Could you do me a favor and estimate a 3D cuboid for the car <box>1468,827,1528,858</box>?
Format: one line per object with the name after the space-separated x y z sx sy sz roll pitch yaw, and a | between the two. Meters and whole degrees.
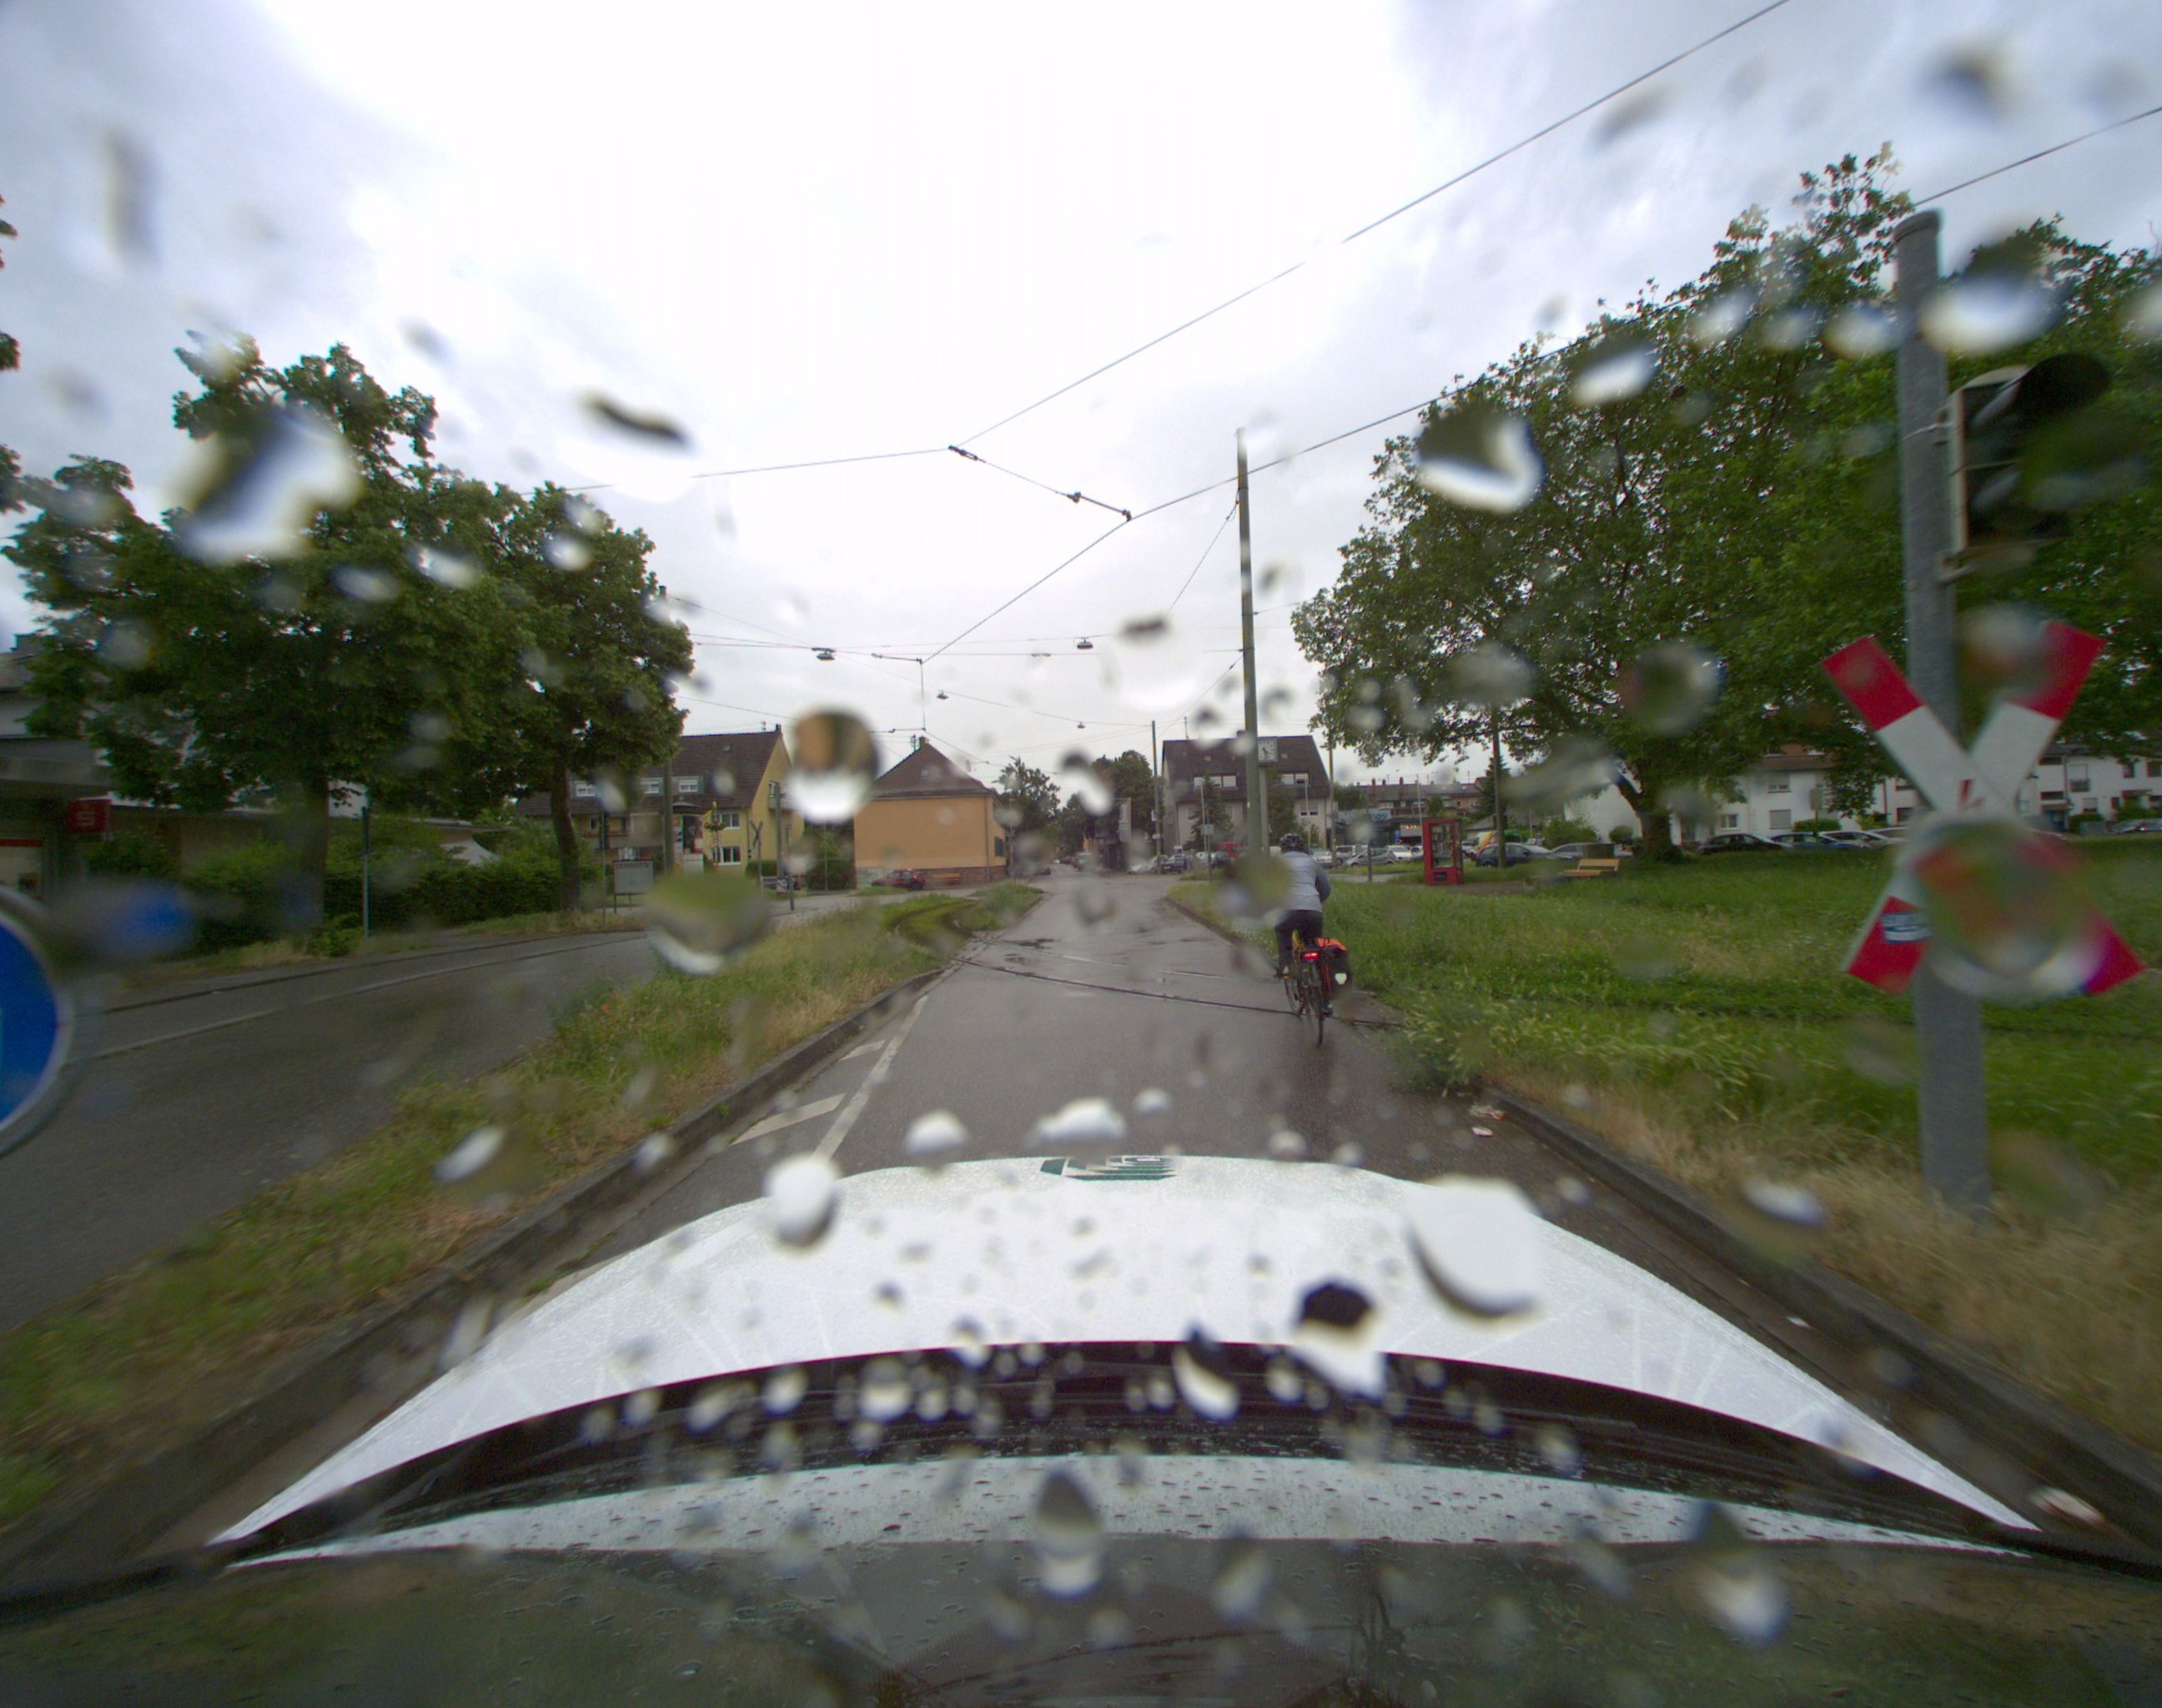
33.618 -0.854 65.848 2.138 2.406 5.147 0 -1 -1 | car

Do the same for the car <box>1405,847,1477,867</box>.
25.251 0.200 57.250 4.367 1.339 1.720 1 -1 -5 | car

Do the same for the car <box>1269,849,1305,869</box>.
16.201 0.415 63.987 1.810 1.504 4.083 -1 -1 28 | car

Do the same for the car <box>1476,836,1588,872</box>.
20.768 0.036 37.667 1.810 1.476 4.136 -2 -1 -30 | car

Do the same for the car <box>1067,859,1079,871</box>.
-1.404 1.926 139.002 1.824 2.014 3.996 0 -1 -3 | car

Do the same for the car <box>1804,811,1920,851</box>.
35.491 -1.018 37.069 1.762 1.506 3.477 0 -3 -36 | car

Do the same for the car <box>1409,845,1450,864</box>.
27.156 0.061 63.541 1.710 1.396 3.845 0 -1 3 | car

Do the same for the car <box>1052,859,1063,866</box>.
-6.395 2.331 221.928 1.833 1.697 4.008 0 -1 -17 | car

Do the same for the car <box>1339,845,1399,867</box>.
20.246 0.173 57.278 3.618 1.504 1.723 0 -1 1 | car

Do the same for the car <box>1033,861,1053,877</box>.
-4.144 1.664 89.131 1.989 1.618 3.996 -2 -1 -3 | car

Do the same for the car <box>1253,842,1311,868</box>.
16.911 0.103 68.685 4.416 2.014 2.001 -3 -1 1 | car

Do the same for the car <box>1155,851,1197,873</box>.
7.752 0.603 65.949 1.784 1.578 3.897 -3 -1 32 | car

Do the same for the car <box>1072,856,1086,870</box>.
-0.315 1.252 120.073 1.987 2.014 3.998 0 -1 -1 | car

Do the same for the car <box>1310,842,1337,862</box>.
18.997 -0.133 63.913 1.814 1.504 4.073 -1 -1 14 | car

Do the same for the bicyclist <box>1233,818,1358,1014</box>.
1.751 0.488 6.775 0.748 1.485 0.846 -4 -1 1 | bicyclist

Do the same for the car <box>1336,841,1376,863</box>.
21.633 -0.171 64.170 1.795 1.578 3.873 -3 -1 1 | car

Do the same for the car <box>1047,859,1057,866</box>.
-8.201 2.388 227.325 1.833 1.697 4.008 0 -1 -17 | car

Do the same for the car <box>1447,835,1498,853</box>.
37.474 -0.968 77.968 4.451 1.580 1.780 -2 -2 -23 | car

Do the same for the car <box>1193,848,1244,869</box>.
11.734 0.390 69.407 3.933 1.598 2.010 -3 -2 19 | car

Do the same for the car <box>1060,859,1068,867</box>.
-4.281 2.169 203.679 1.824 2.014 3.996 0 -1 -3 | car

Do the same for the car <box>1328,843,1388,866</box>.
23.257 0.032 68.563 4.416 1.687 1.761 -3 -1 1 | car

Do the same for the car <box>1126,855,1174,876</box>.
6.138 1.036 72.558 3.873 1.578 1.795 -3 -1 -21 | car

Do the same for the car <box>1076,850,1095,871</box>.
0.508 0.823 101.162 2.148 2.572 4.129 0 -1 -3 | car

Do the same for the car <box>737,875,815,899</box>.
-20.722 2.262 55.429 4.480 1.396 1.965 -2 -1 -3 | car

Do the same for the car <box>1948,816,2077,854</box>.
43.169 -0.846 37.823 1.641 1.480 3.567 -2 -2 -26 | car

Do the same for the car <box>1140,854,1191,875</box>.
7.175 0.920 69.257 3.873 1.578 1.795 -3 -1 -21 | car

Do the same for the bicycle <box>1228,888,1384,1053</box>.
1.778 0.870 6.774 0.750 1.073 1.927 -4 -1 2 | bicycle

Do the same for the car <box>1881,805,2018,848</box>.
39.140 -1.184 36.785 1.832 1.501 3.954 0 -5 -37 | car

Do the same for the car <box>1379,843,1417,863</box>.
24.885 -0.067 64.063 1.710 1.573 3.620 0 -1 3 | car

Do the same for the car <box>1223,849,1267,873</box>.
12.909 0.528 63.896 1.974 1.717 4.026 -3 -1 32 | car

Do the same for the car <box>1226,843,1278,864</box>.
15.847 -0.032 75.732 4.416 1.687 2.001 -3 -1 1 | car

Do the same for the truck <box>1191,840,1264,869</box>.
13.022 0.091 72.421 6.033 2.272 2.010 -3 -2 19 | truck

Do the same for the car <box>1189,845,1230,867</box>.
10.164 0.153 64.310 1.784 1.578 3.897 -3 -1 32 | car

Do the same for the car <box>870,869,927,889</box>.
-12.643 1.726 56.455 3.597 1.339 1.721 0 -1 -4 | car
